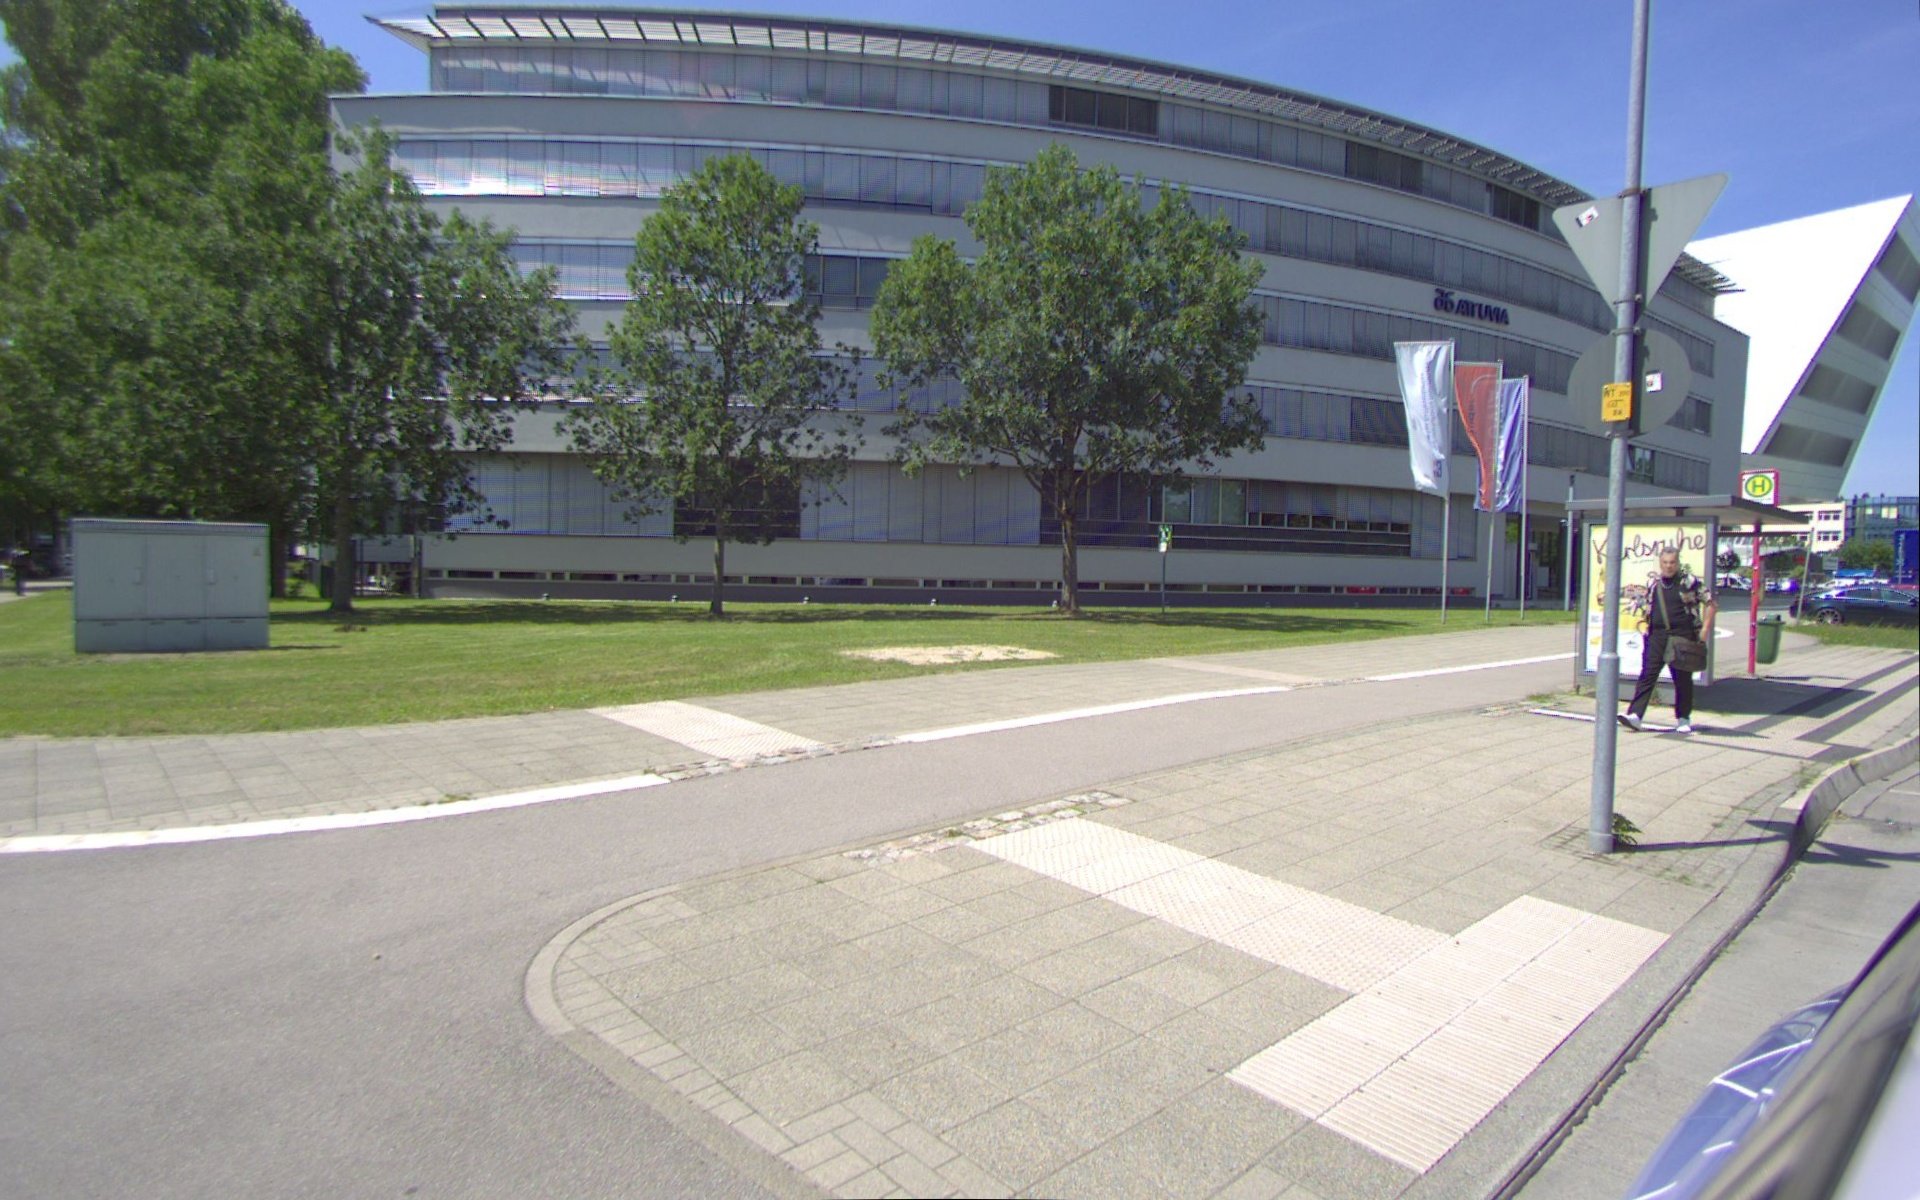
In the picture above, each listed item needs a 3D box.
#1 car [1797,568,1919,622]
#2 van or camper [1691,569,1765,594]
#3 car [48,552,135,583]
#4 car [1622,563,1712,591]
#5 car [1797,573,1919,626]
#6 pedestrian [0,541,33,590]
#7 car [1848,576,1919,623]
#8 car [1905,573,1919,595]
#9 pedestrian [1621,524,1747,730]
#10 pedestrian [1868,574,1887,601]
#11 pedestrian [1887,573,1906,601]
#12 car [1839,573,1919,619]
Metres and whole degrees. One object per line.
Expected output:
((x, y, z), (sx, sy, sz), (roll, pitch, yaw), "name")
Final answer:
((31.105, -0.202, 34.246), (1.807, 1.675, 3.996), (-1, 3, -40), "car")
((77.468, -1.886, 102.201), (1.671, 2.420, 5.706), (-1, 1, -35), "van or camper")
((-57.663, -2.130, 67.248), (3.919, 2.039, 2.003), (0, 1, -7), "car")
((69.165, -2.235, 99.146), (2.212, 2.695, 6.971), (-1, 1, -35), "car")
((29.539, -0.003, 31.969), (1.798, 1.449, 4.573), (-1, 5, -44), "car")
((-31.563, -1.137, 33.822), (0.631, 1.628, 0.573), (0, 1, -11), "pedestrian")
((33.302, 0.005, 34.870), (1.626, 1.504, 3.817), (-1, 4, -40), "car")
((100.007, -1.606, 102.108), (2.124, 2.176, 6.500), (-1, 1, -35), "car")
((6.860, 0.219, 9.595), (0.812, 1.844, 0.709), (-1, 4, -42), "pedestrian")
((57.499, -0.773, 63.416), (0.763, 1.681, 0.843), (-1, 1, -43), "pedestrian")
((58.096, -0.824, 62.774), (0.763, 1.722, 0.843), (-1, 1, -43), "pedestrian")
((34.882, -0.112, 36.673), (1.755, 1.582, 4.330), (-1, 4, -41), "car")
